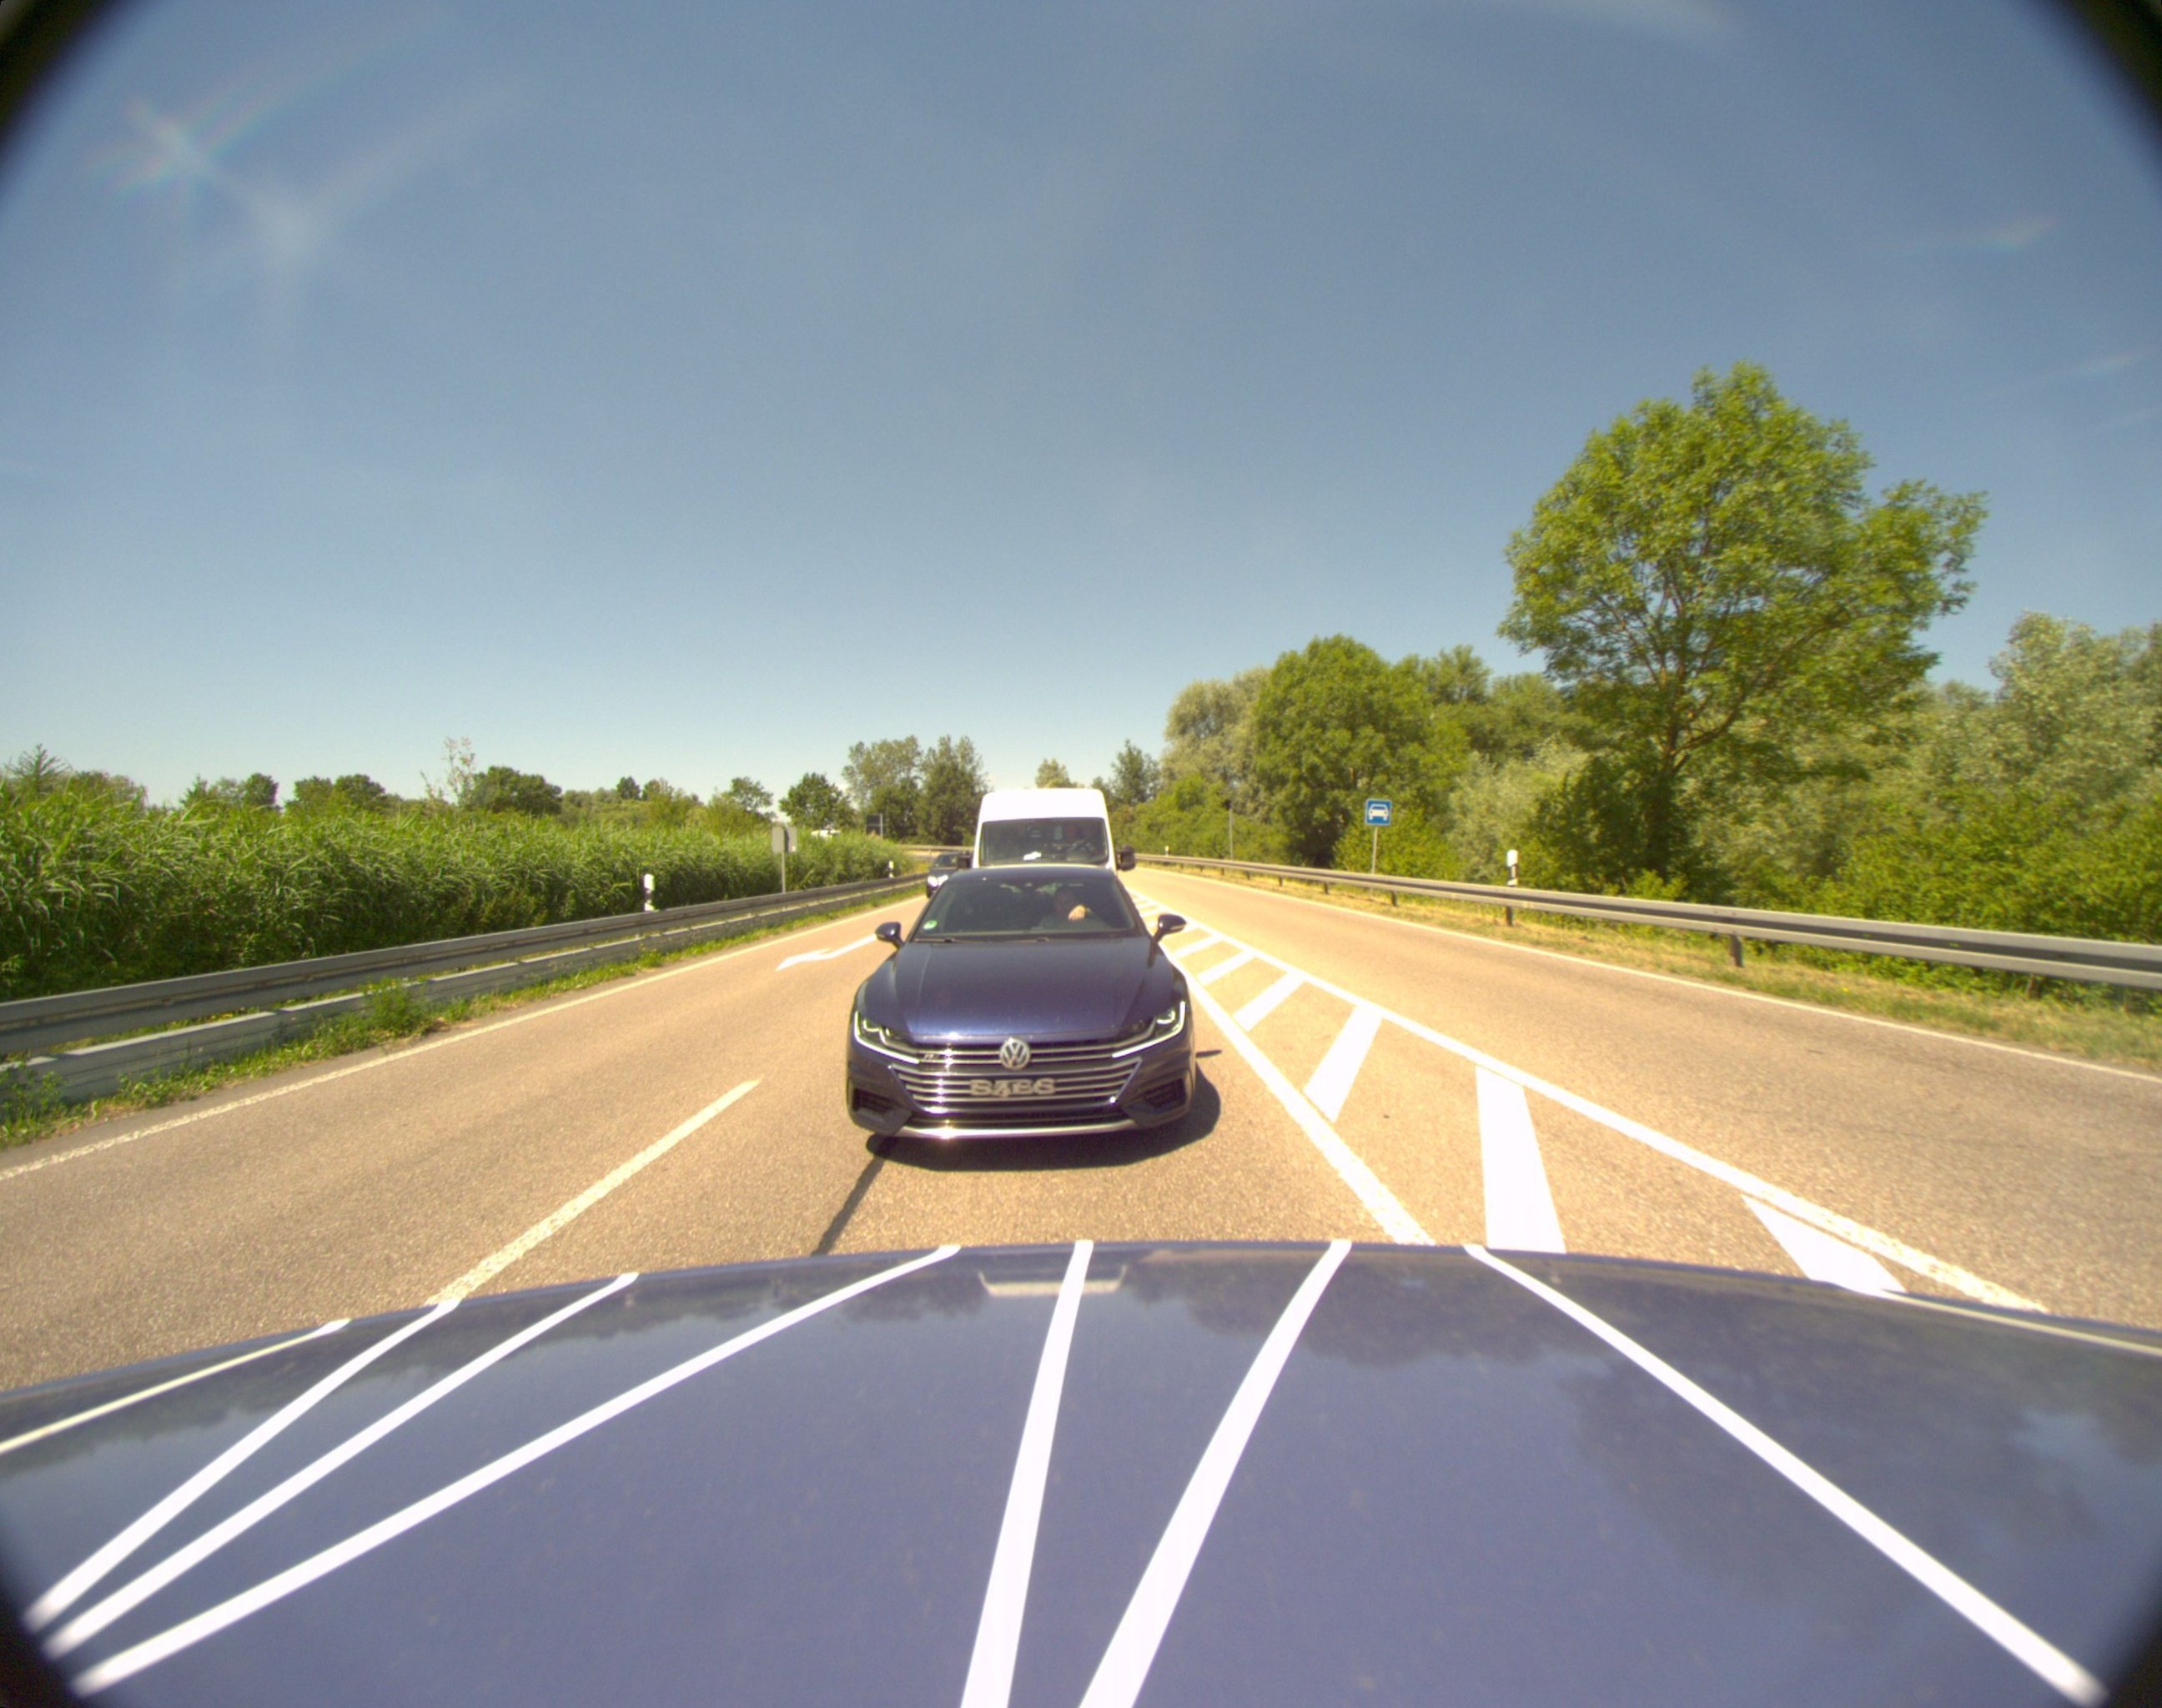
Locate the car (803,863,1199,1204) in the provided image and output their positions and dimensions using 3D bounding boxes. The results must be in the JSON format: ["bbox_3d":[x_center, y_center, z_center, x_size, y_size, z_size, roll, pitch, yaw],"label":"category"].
[{"bbox_3d":[-0.348,0.876,5.770,1.819,1.454,4.415,-2,1,1],"label":"car"}]

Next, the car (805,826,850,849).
[{"bbox_3d":[-31.775,-2.051,95.167,5.575,2.405,2.001,-2,7,32],"label":"car"}]

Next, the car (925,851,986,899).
[{"bbox_3d":[-4.557,0.715,27.988,1.672,1.591,3.552,-2,1,-1],"label":"car"}]

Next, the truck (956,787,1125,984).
[{"bbox_3d":[-0.670,0.354,12.305,2.011,2.365,5.909,-2,1,-4],"label":"truck"}]
